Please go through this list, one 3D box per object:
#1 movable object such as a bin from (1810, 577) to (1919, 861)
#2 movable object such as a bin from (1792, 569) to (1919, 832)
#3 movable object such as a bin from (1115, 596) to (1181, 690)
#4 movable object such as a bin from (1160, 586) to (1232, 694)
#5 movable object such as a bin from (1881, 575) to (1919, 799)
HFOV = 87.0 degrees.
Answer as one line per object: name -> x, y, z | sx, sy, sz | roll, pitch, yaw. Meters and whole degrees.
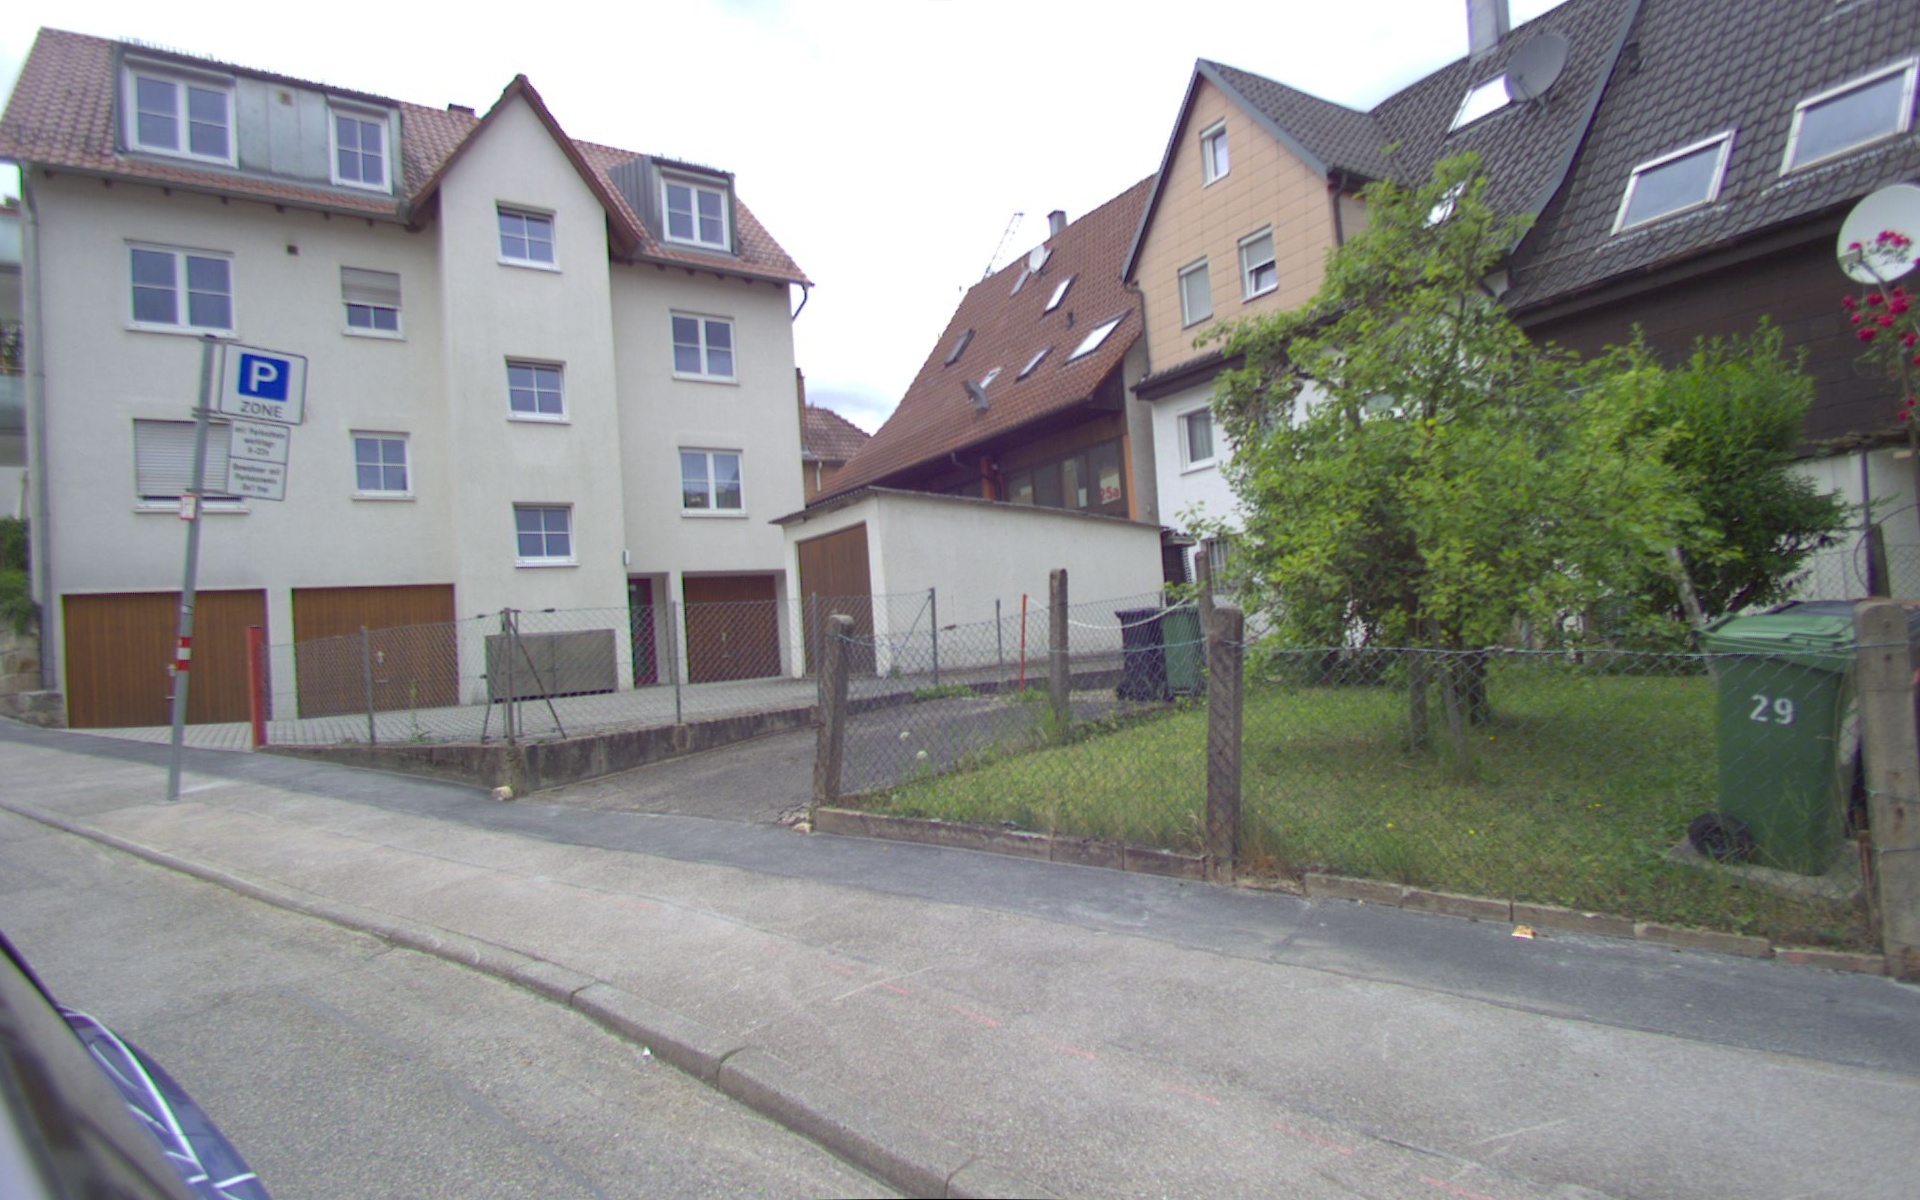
movable object such as a bin -> 3.316, 0.385, 3.433 | 0.519, 0.890, 0.492 | -5, 4, -27
movable object such as a bin -> 3.645, 0.360, 3.906 | 0.519, 0.924, 0.492 | -5, 4, -27
movable object such as a bin -> 1.853, 0.416, 9.975 | 0.371, 0.900, 0.491 | -1, -1, -40
movable object such as a bin -> 2.220, 0.370, 9.541 | 0.394, 0.989, 0.509 | 0, -2, -40
movable object such as a bin -> 4.149, 0.349, 4.111 | 0.487, 0.884, 0.454 | -5, 4, -27
